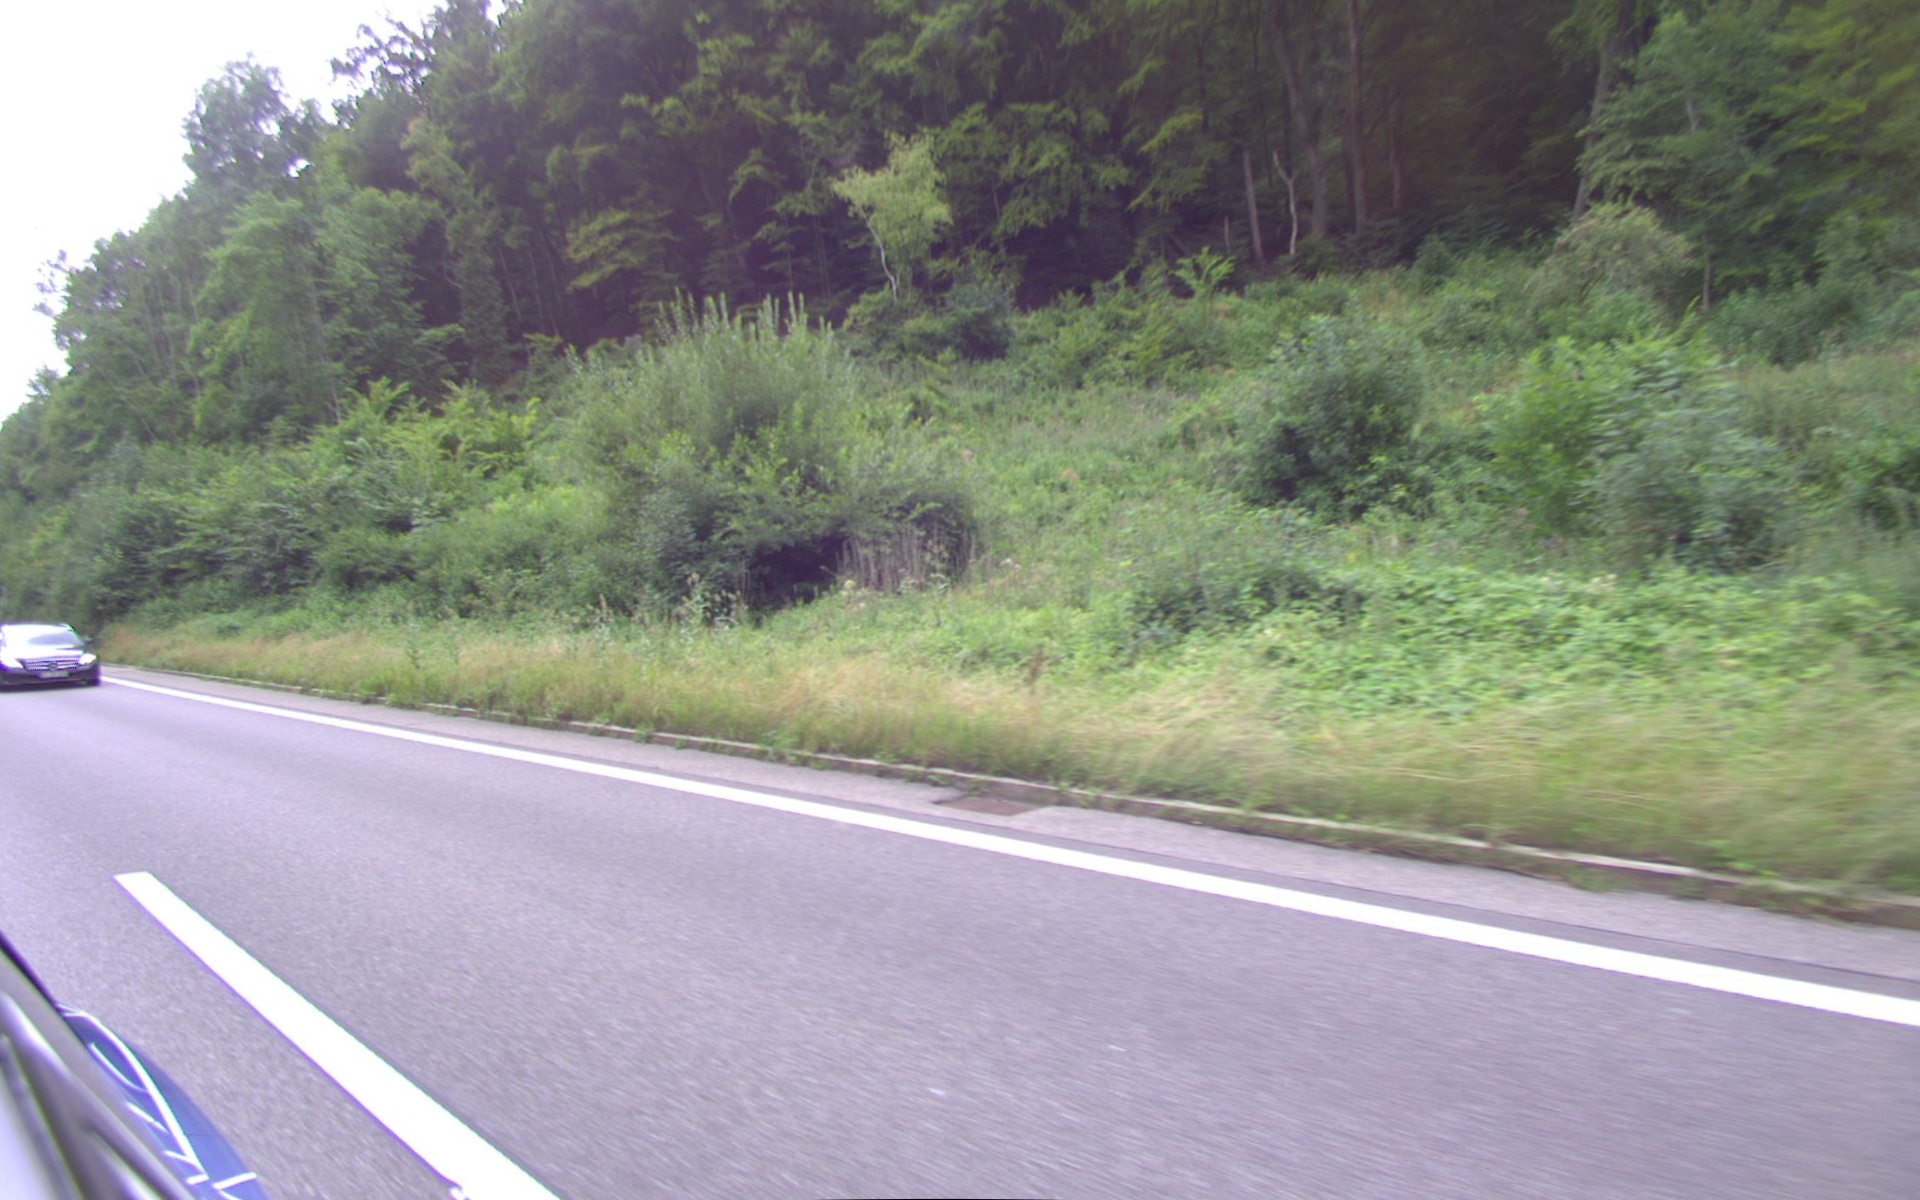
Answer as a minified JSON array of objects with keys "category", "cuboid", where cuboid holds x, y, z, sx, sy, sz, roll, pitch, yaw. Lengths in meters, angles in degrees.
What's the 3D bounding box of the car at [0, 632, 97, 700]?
[{"category":"car","cuboid":[-22.343,1.566,24.440,5.123,1.475,1.741,-3,-3,43]}]
